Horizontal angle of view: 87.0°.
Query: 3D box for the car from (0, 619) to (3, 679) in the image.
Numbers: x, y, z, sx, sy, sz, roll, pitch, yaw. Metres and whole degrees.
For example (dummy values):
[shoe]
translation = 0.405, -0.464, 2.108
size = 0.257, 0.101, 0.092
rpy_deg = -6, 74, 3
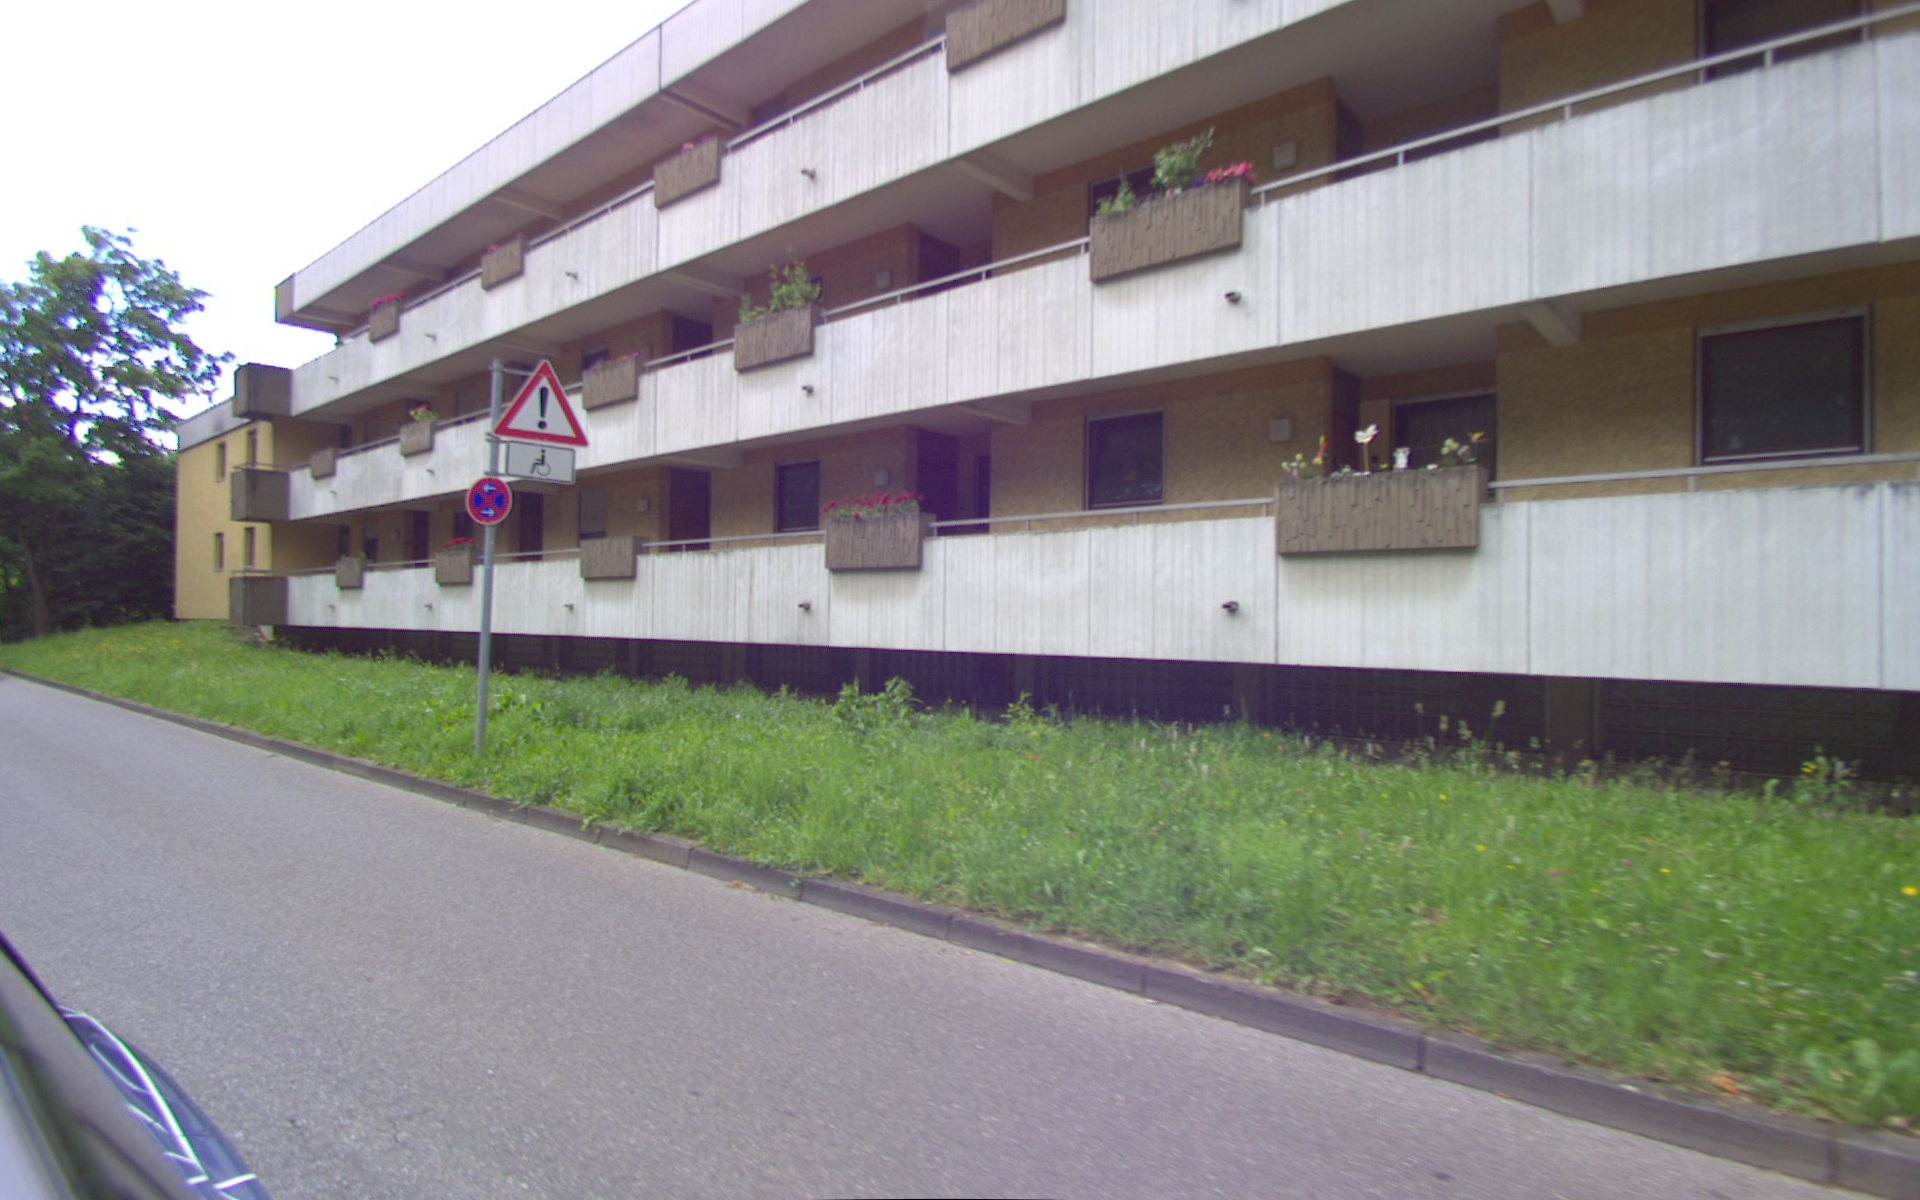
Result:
[car]
translation = -25.075, 1.182, 24.810
size = 4.421, 1.422, 1.894
rpy_deg = -1, -1, 41
